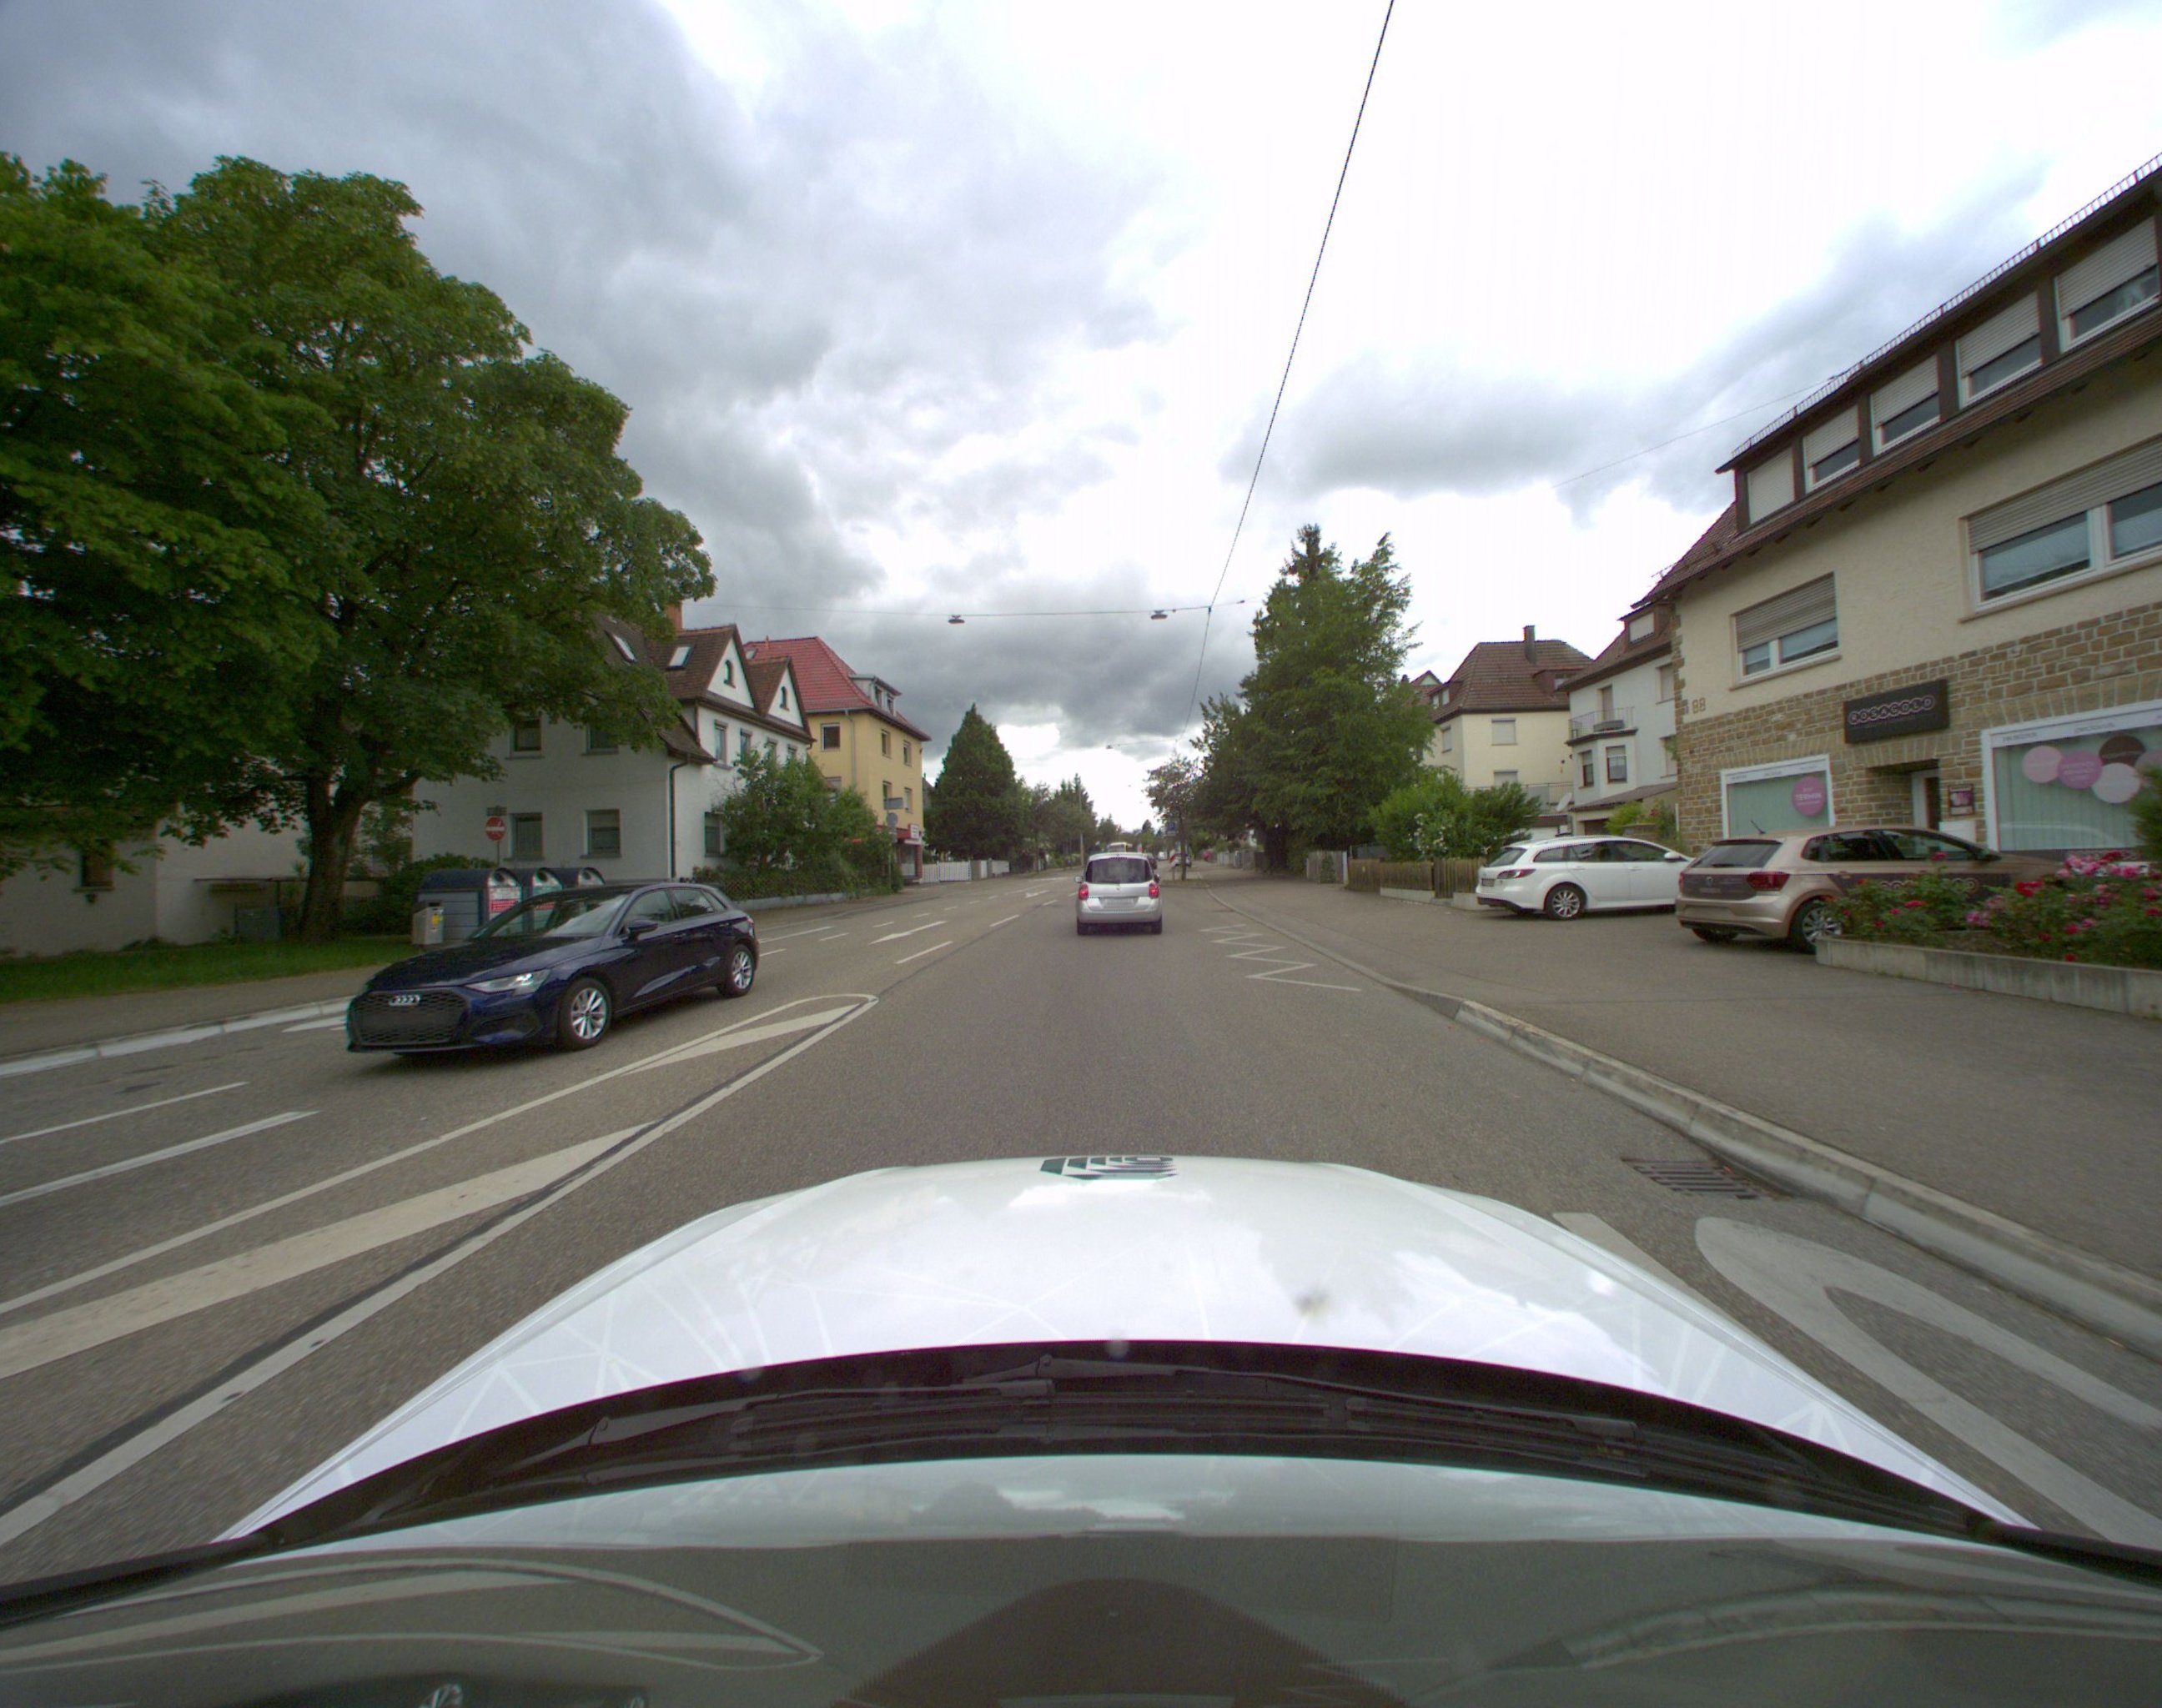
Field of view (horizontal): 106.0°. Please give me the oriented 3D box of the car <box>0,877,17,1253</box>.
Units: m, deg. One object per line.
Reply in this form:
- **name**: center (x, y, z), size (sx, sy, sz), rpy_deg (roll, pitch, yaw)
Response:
- **car**: center (-5.836, 0.944, 1.387), size (1.749, 1.635, 4.602), rpy_deg (-4, -1, 6)

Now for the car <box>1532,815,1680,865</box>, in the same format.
- **car**: center (18.857, -0.485, 29.381), size (4.071, 1.395, 1.833), rpy_deg (-3, -6, -3)

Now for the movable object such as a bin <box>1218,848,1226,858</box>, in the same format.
- **movable object such as a bin**: center (15.516, -0.141, 89.738), size (0.772, 1.104, 0.692), rpy_deg (-3, 0, 5)

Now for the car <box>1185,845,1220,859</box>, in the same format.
- **car**: center (15.594, -0.244, 104.589), size (3.977, 1.496, 1.808), rpy_deg (-5, 0, -2)

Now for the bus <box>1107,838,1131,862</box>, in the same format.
- **bus**: center (5.482, -0.551, 114.372), size (2.619, 3.086, 12.087), rpy_deg (-4, 0, 5)

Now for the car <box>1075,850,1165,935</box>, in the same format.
- **car**: center (0.829, 0.749, 17.087), size (1.623, 1.557, 4.003), rpy_deg (-1, -1, 3)

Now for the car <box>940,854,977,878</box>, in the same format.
- **car**: center (-9.263, 0.897, 62.015), size (1.799, 1.564, 4.622), rpy_deg (-4, 0, 3)

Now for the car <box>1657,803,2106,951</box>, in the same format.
- **car**: center (9.581, 0.275, 9.981), size (3.790, 1.402, 1.640), rpy_deg (-4, -1, 0)

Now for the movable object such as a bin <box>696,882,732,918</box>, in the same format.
- **movable object such as a bin**: center (-11.136, 1.391, 24.726), size (0.711, 1.019, 0.727), rpy_deg (1, 2, 38)

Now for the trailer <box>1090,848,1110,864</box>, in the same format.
- **trailer**: center (2.612, 0.322, 112.504), size (2.301, 2.087, 5.880), rpy_deg (-1, -1, 5)

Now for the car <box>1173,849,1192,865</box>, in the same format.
- **car**: center (9.050, 0.278, 72.487), size (1.641, 1.382, 4.008), rpy_deg (-2, -1, 7)

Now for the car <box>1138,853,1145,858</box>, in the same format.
- **car**: center (18.710, 0.498, 252.815), size (1.899, 1.618, 4.001), rpy_deg (-2, -1, 1)

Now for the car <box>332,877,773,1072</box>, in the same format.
- **car**: center (-4.940, 1.006, 8.435), size (1.556, 1.420, 4.136), rpy_deg (-3, -1, 5)

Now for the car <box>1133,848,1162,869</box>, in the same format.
- **car**: center (5.784, 0.354, 70.589), size (1.816, 1.675, 3.587), rpy_deg (-3, 0, 14)

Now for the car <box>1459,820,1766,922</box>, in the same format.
- **car**: center (9.730, 0.327, 15.231), size (4.399, 1.488, 1.867), rpy_deg (-4, -1, 5)
